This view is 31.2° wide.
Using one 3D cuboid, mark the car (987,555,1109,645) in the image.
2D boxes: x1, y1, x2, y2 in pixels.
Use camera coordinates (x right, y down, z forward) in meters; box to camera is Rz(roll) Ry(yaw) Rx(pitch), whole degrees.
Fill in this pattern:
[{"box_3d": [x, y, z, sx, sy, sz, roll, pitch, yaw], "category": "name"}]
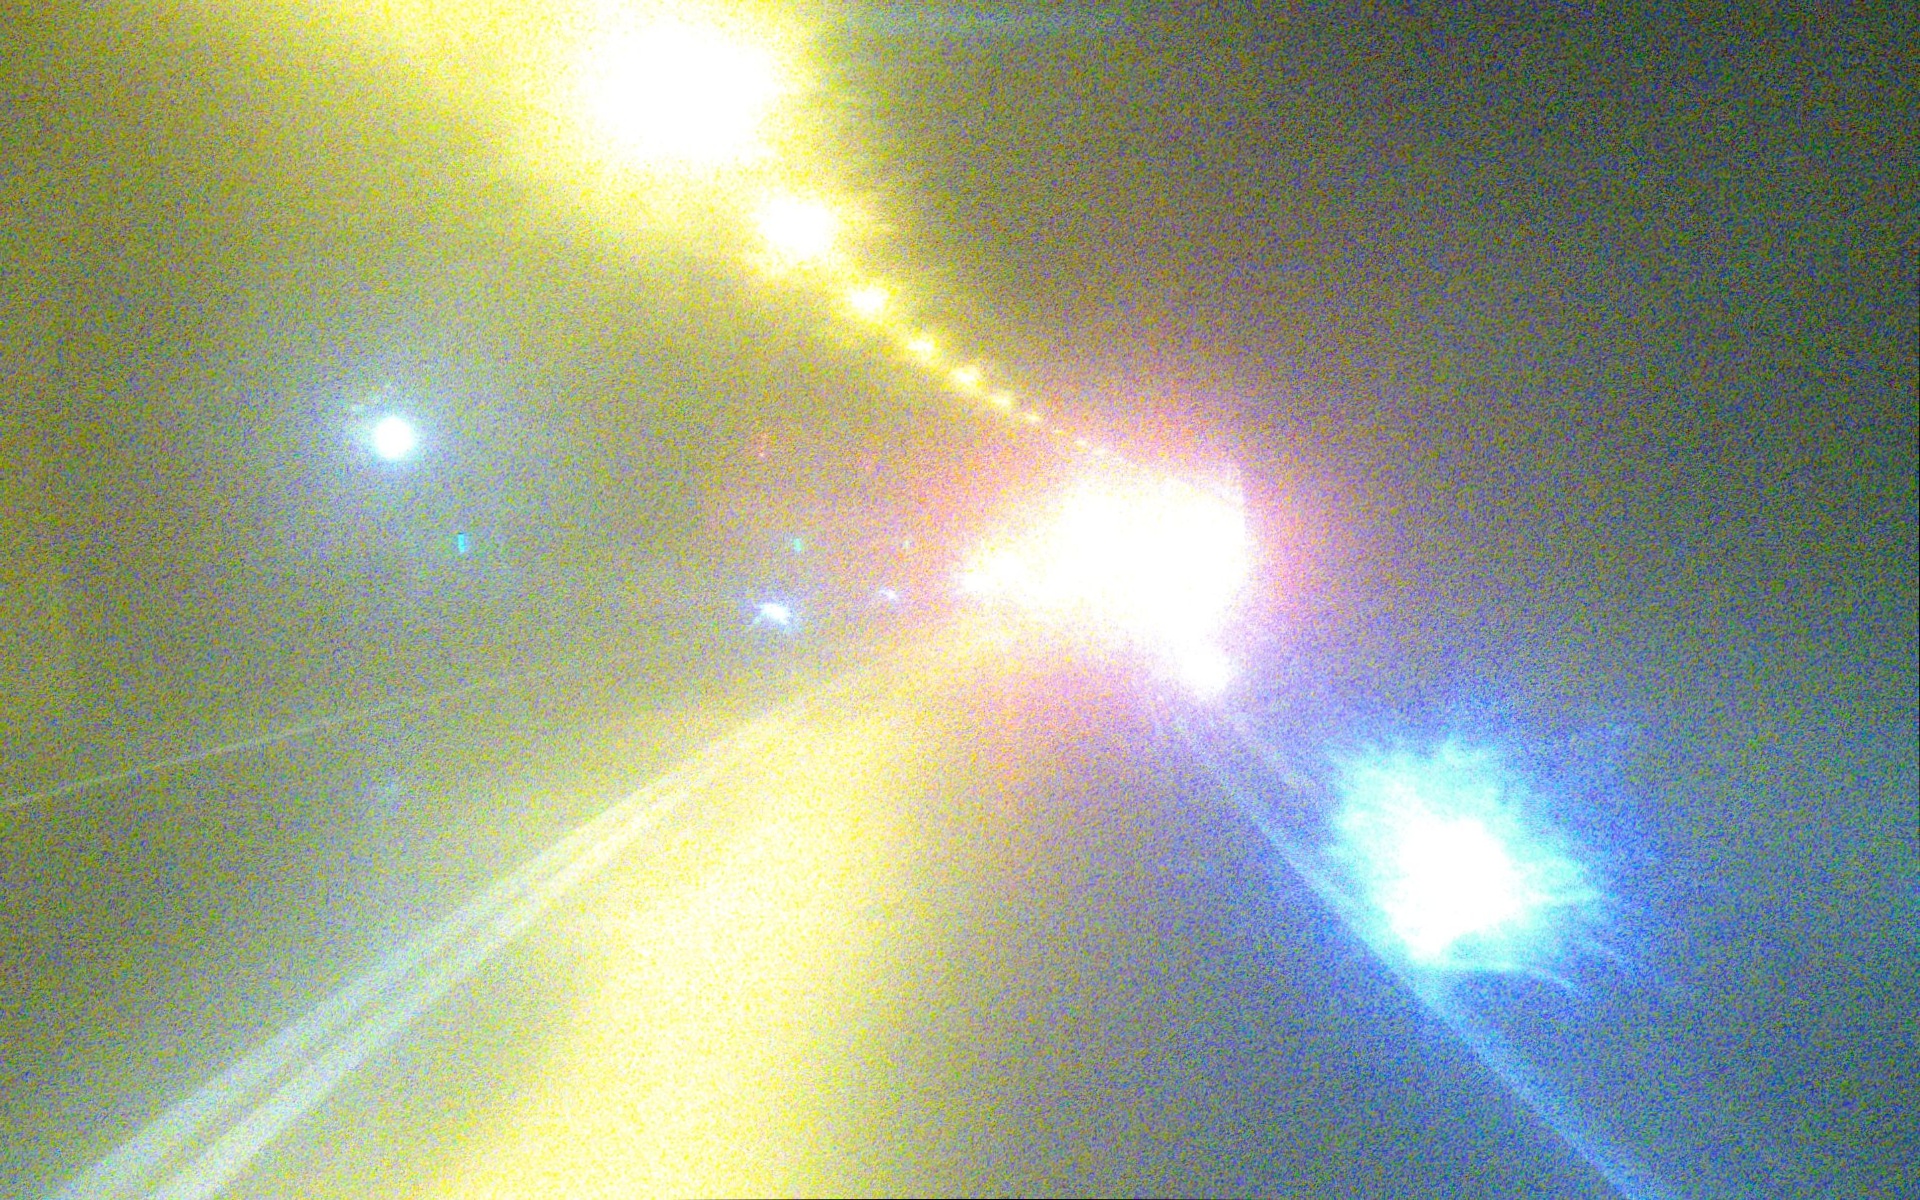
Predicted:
[{"box_3d": [1.717, -0.019, 65.750, 2.090, 1.656, 3.999, 1, 0, 5], "category": "car"}]
